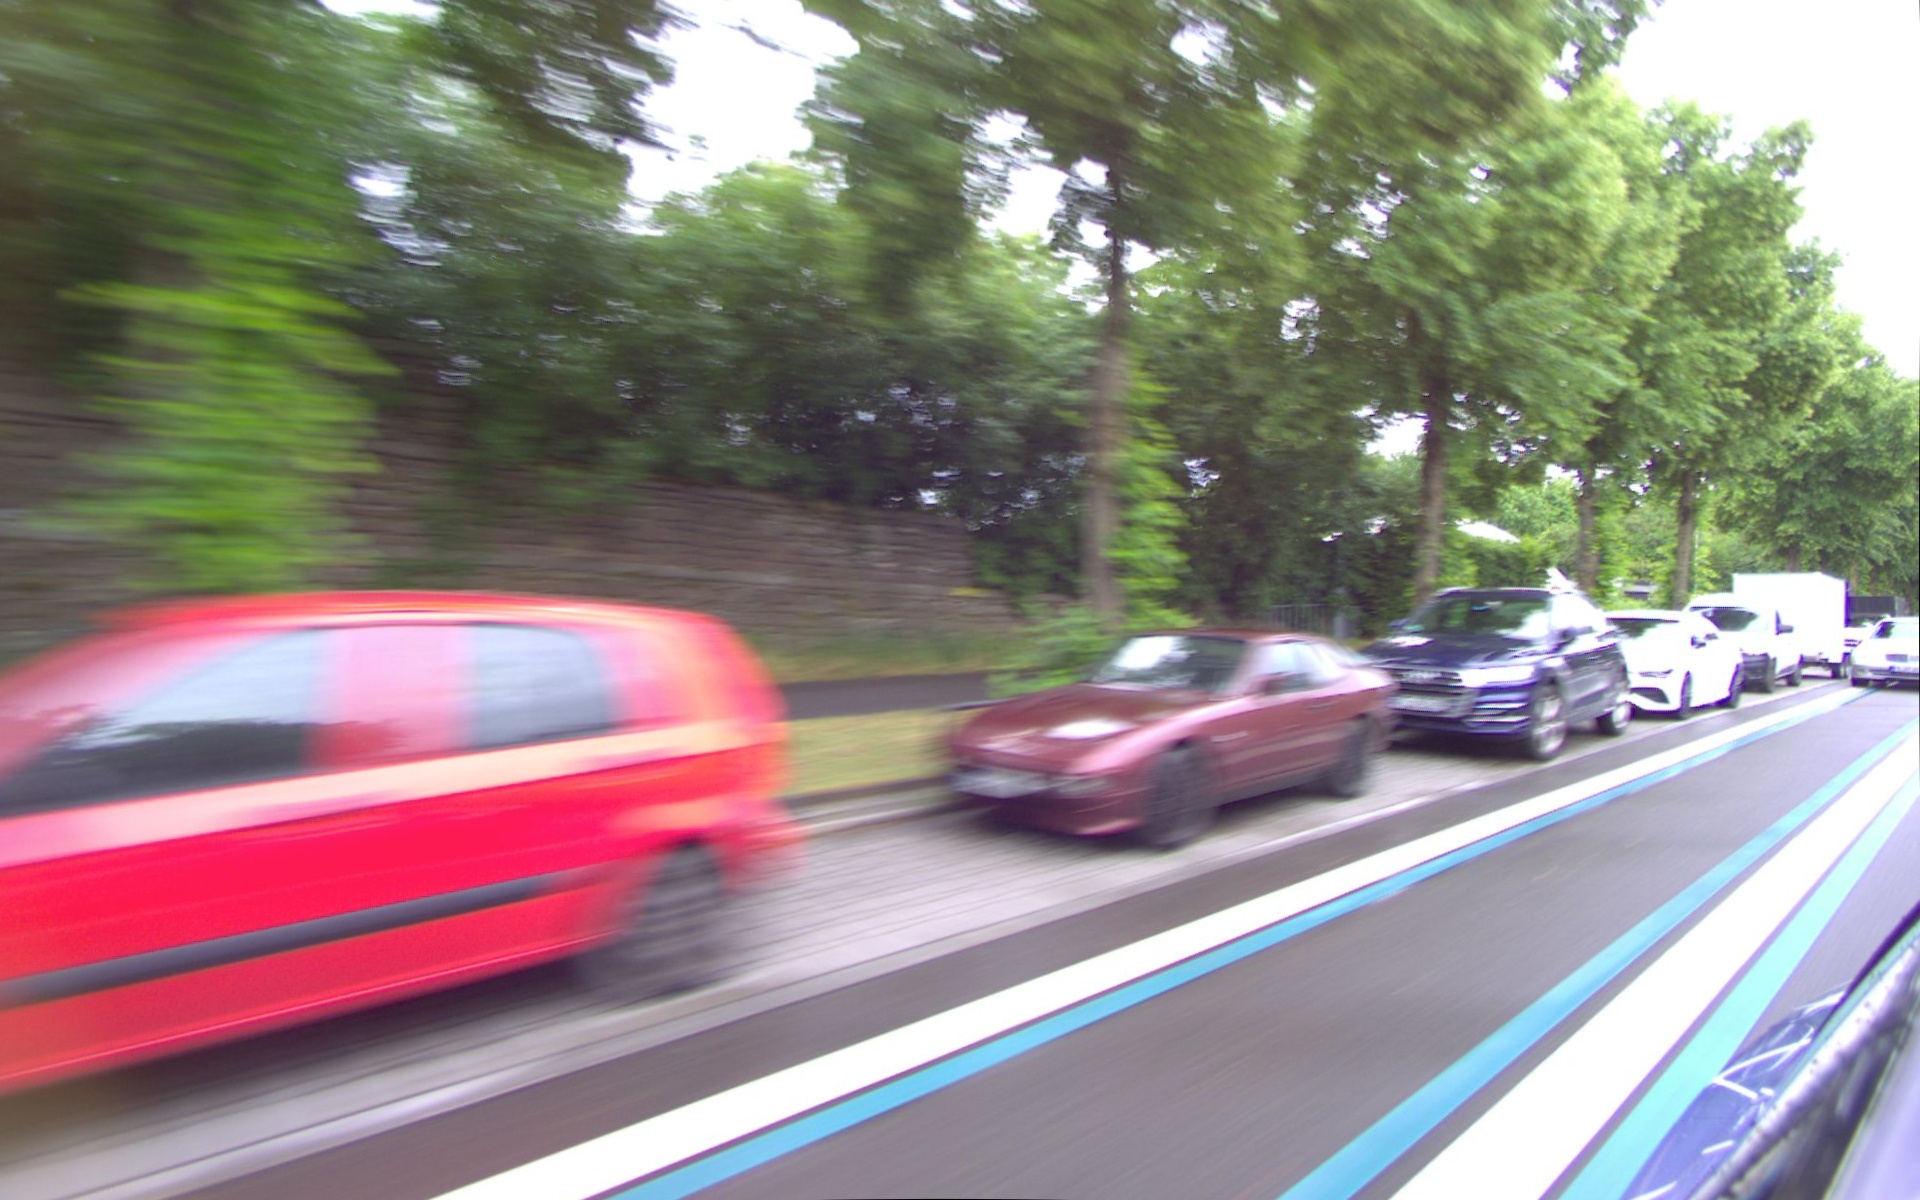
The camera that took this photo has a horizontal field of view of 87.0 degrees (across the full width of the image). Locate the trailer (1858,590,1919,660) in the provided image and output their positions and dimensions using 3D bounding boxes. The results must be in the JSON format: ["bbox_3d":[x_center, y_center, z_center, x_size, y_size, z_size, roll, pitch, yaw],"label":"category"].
[{"bbox_3d":[31.992,0.831,34.754,3.502,2.298,1.348,1,-1,-42],"label":"trailer"}]

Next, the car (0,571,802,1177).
[{"bbox_3d":[-2.477,0.666,3.412,3.562,1.485,1.561,1,0,-42],"label":"car"}]

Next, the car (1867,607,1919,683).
[{"bbox_3d":[19.813,0.902,20.505,4.512,1.416,1.724,1,0,-43],"label":"car"}]

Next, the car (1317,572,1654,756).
[{"bbox_3d":[5.887,0.568,11.039,1.994,1.580,4.567,1,0,45],"label":"car"}]

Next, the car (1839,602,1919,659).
[{"bbox_3d":[28.200,0.907,31.082,1.755,1.605,4.346,1,0,42],"label":"car"}]

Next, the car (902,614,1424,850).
[{"bbox_3d":[1.682,0.732,7.347,4.112,1.205,1.627,1,0,-43],"label":"car"}]

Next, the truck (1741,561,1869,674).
[{"bbox_3d":[19.318,0.383,23.086,3.931,2.363,1.721,1,0,-42],"label":"truck"}]

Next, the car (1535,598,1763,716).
[{"bbox_3d":[10.079,0.742,14.667,4.537,1.444,1.662,1,0,-41],"label":"car"}]

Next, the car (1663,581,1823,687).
[{"bbox_3d":[15.108,0.609,19.438,4.270,1.813,1.724,1,0,-42],"label":"car"}]
